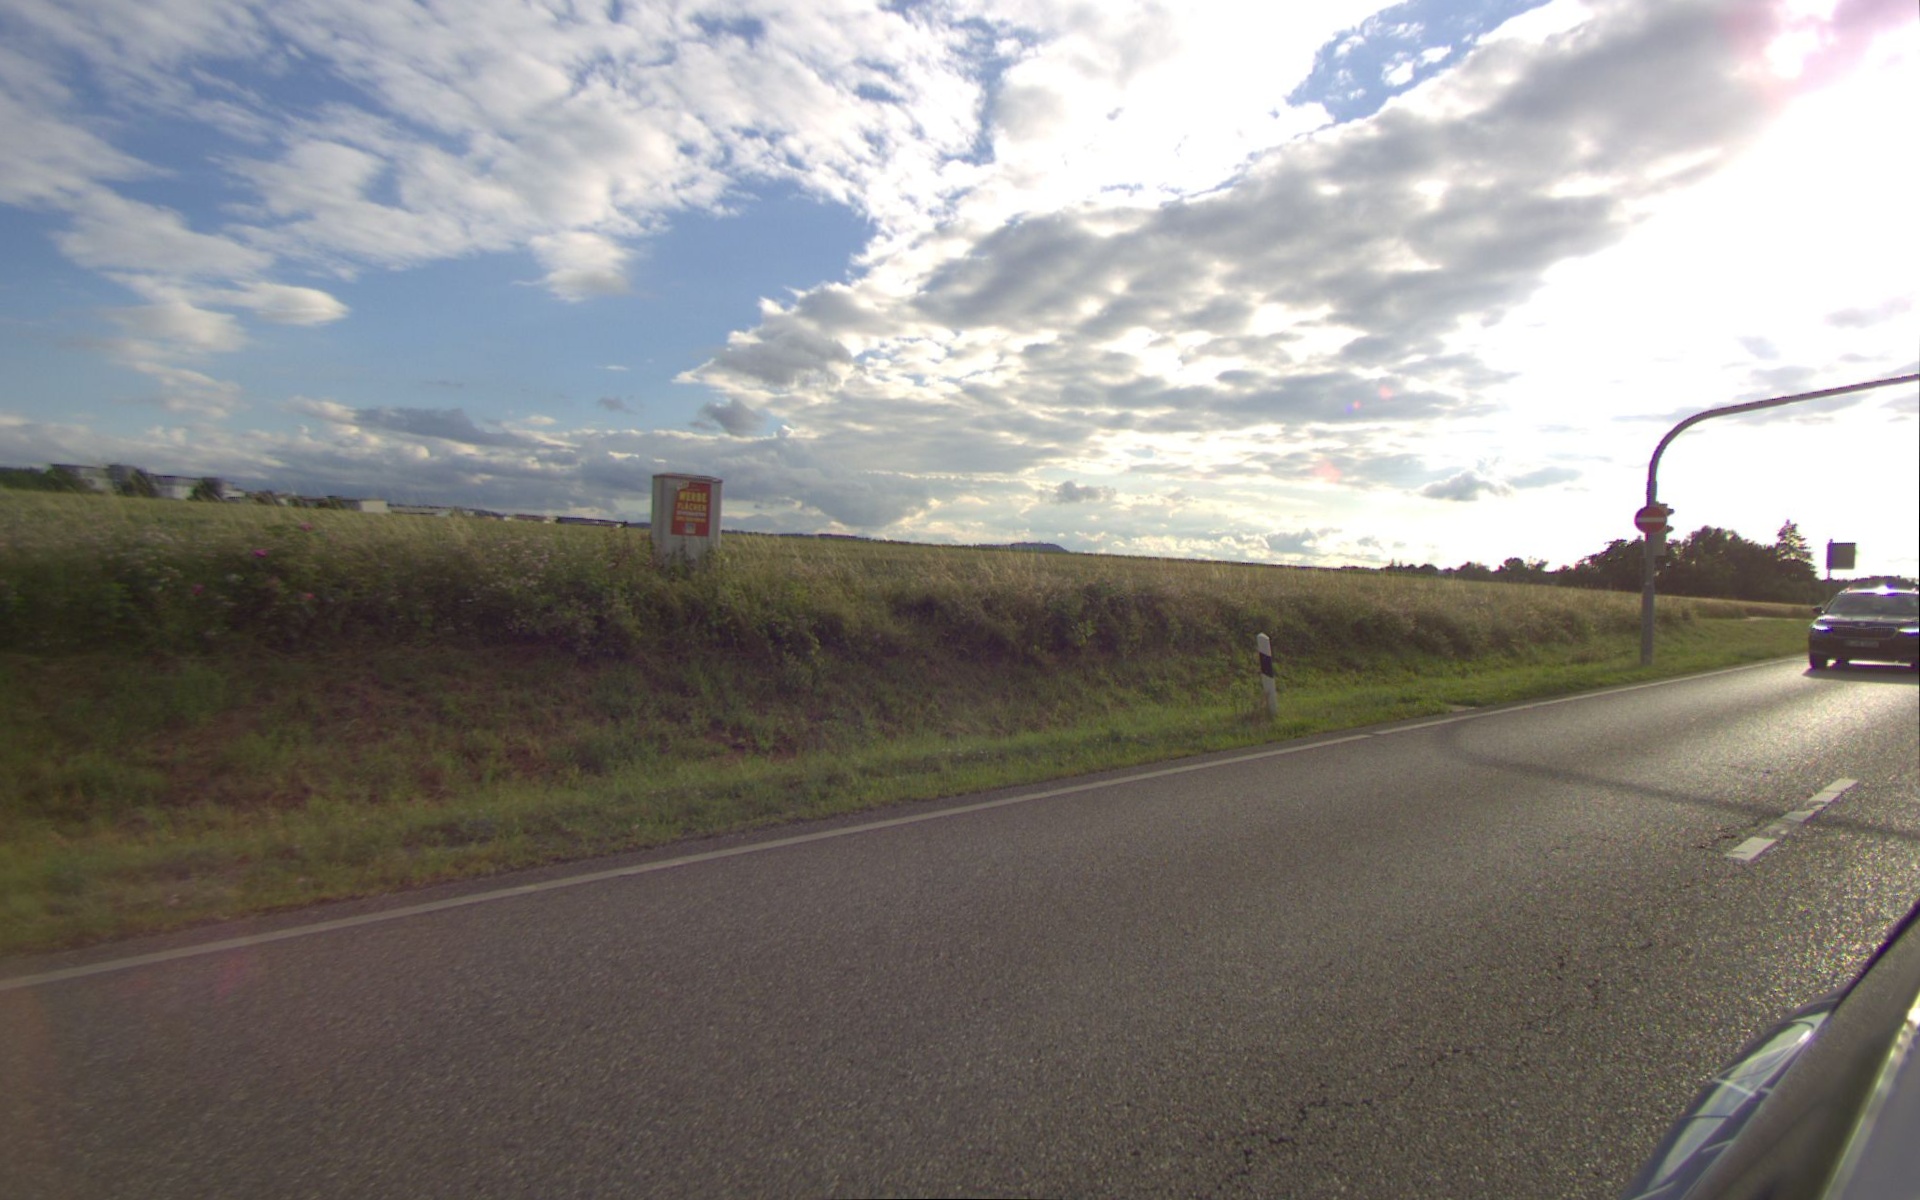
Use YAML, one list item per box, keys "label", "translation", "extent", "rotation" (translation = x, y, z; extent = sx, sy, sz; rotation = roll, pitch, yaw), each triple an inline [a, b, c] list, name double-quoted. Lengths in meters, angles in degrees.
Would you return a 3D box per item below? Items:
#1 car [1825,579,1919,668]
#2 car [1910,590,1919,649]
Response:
- label: "car"
  translation: [19.616, 0.452, 21.169]
  extent: [4.342, 1.689, 1.722]
  rotation: [0, 0, -41]
- label: "car"
  translation: [26.224, 0.509, 26.394]
  extent: [3.796, 1.494, 1.668]
  rotation: [1, 0, -40]
